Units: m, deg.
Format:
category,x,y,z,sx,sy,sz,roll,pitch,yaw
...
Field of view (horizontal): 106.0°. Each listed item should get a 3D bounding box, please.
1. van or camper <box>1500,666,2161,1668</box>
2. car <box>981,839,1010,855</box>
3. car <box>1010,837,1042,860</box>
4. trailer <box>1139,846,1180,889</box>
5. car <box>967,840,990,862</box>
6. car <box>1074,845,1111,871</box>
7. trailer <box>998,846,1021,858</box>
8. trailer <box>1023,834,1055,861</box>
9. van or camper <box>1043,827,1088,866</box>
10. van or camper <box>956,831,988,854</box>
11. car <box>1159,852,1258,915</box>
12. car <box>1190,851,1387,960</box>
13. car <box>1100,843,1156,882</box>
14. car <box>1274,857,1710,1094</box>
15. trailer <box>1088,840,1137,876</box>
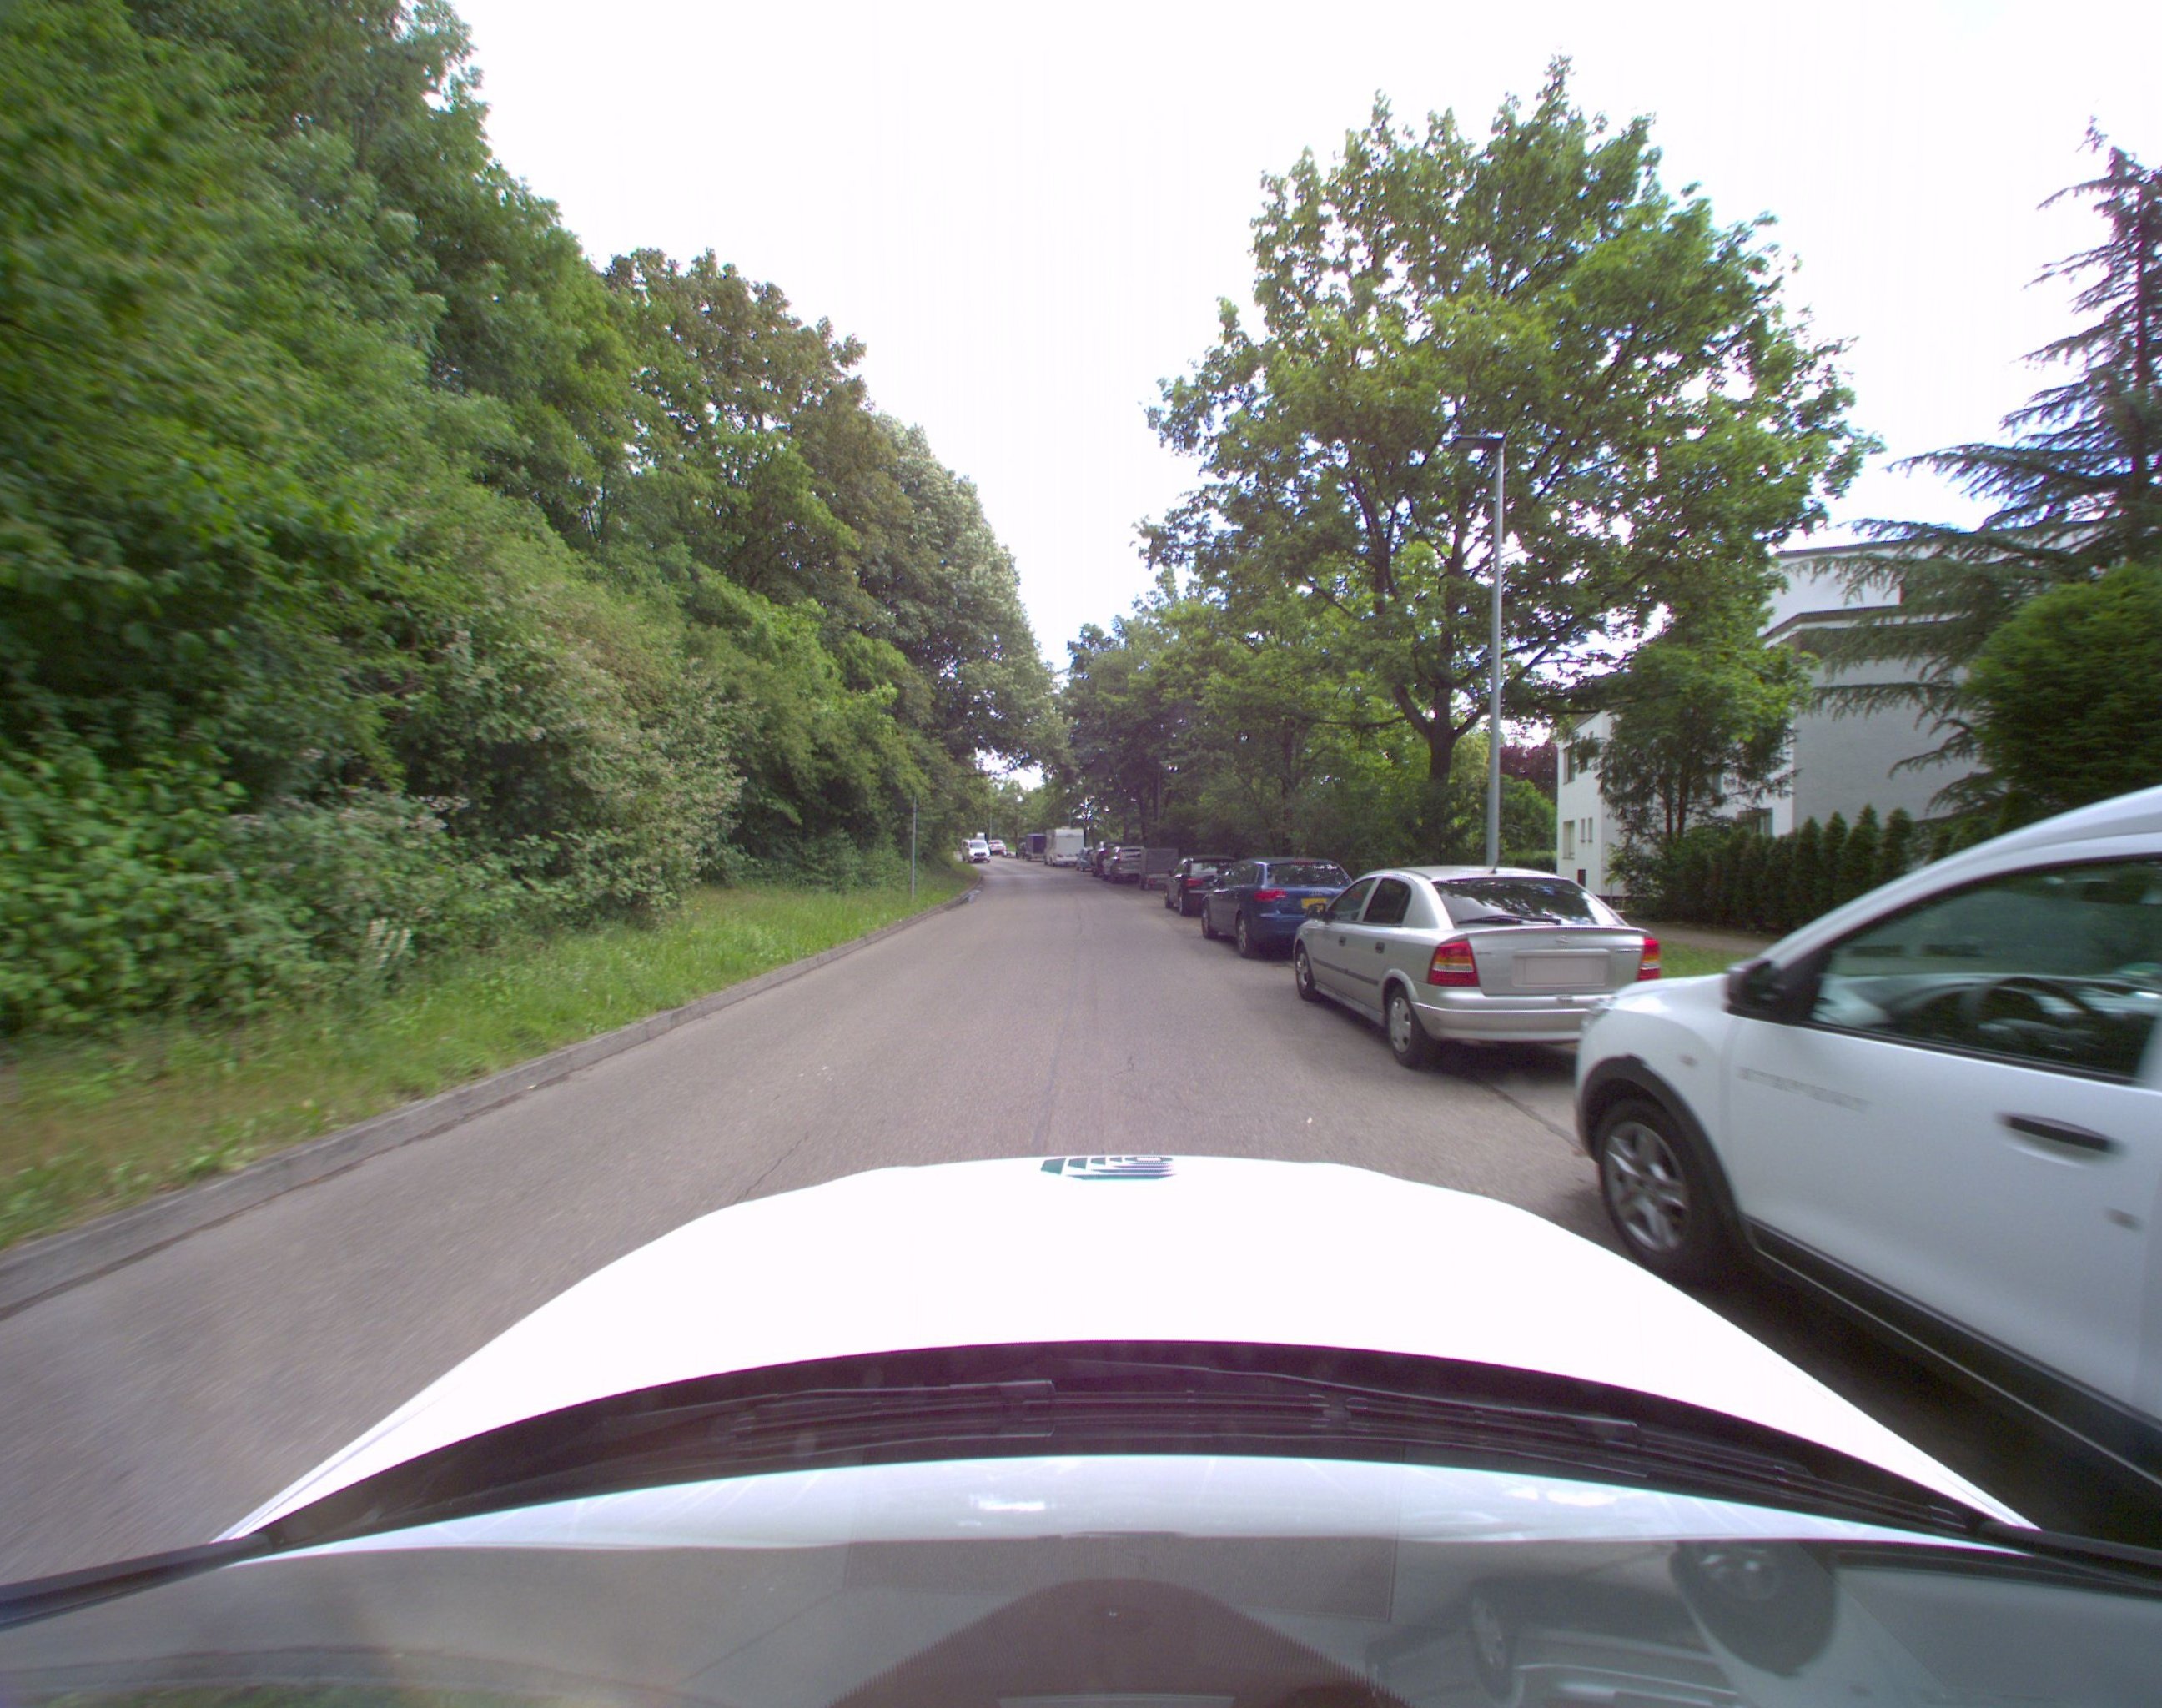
category,x,y,z,sx,sy,sz,roll,pitch,yaw
van or camper,2.888,0.581,1.778,1.795,1.838,4.321,0,-1,1
car,-9.681,-0.793,92.021,2.044,1.803,4.051,-1,1,-24
car,-5.395,-0.598,79.374,2.000,2.025,3.975,-3,3,-19
trailer,3.002,0.487,31.494,1.275,1.585,2.458,0,0,-3
car,-9.257,-0.293,73.845,1.945,1.984,4.492,0,1,-6
car,0.706,0.244,53.328,1.799,1.562,3.825,-1,1,-8
trailer,-7.334,-0.194,83.045,1.655,1.086,3.979,-3,2,-16
trailer,-3.857,-0.577,74.118,1.999,2.398,3.976,0,1,-18
van or camper,-1.320,-0.554,63.490,2.482,2.876,6.865,0,0,-10
van or camper,-13.359,-1.420,99.874,2.540,2.697,4.537,-2,2,-26
car,3.128,0.668,20.681,1.717,1.453,3.913,0,0,-3
car,3.125,0.690,13.283,1.843,1.474,4.473,0,0,-4
car,2.097,0.412,37.877,1.790,1.670,4.490,-1,-1,-7
car,3.133,0.788,7.331,1.807,1.437,4.242,1,0,0
trailer,1.630,0.149,44.012,1.976,1.811,5.139,-1,1,-6
